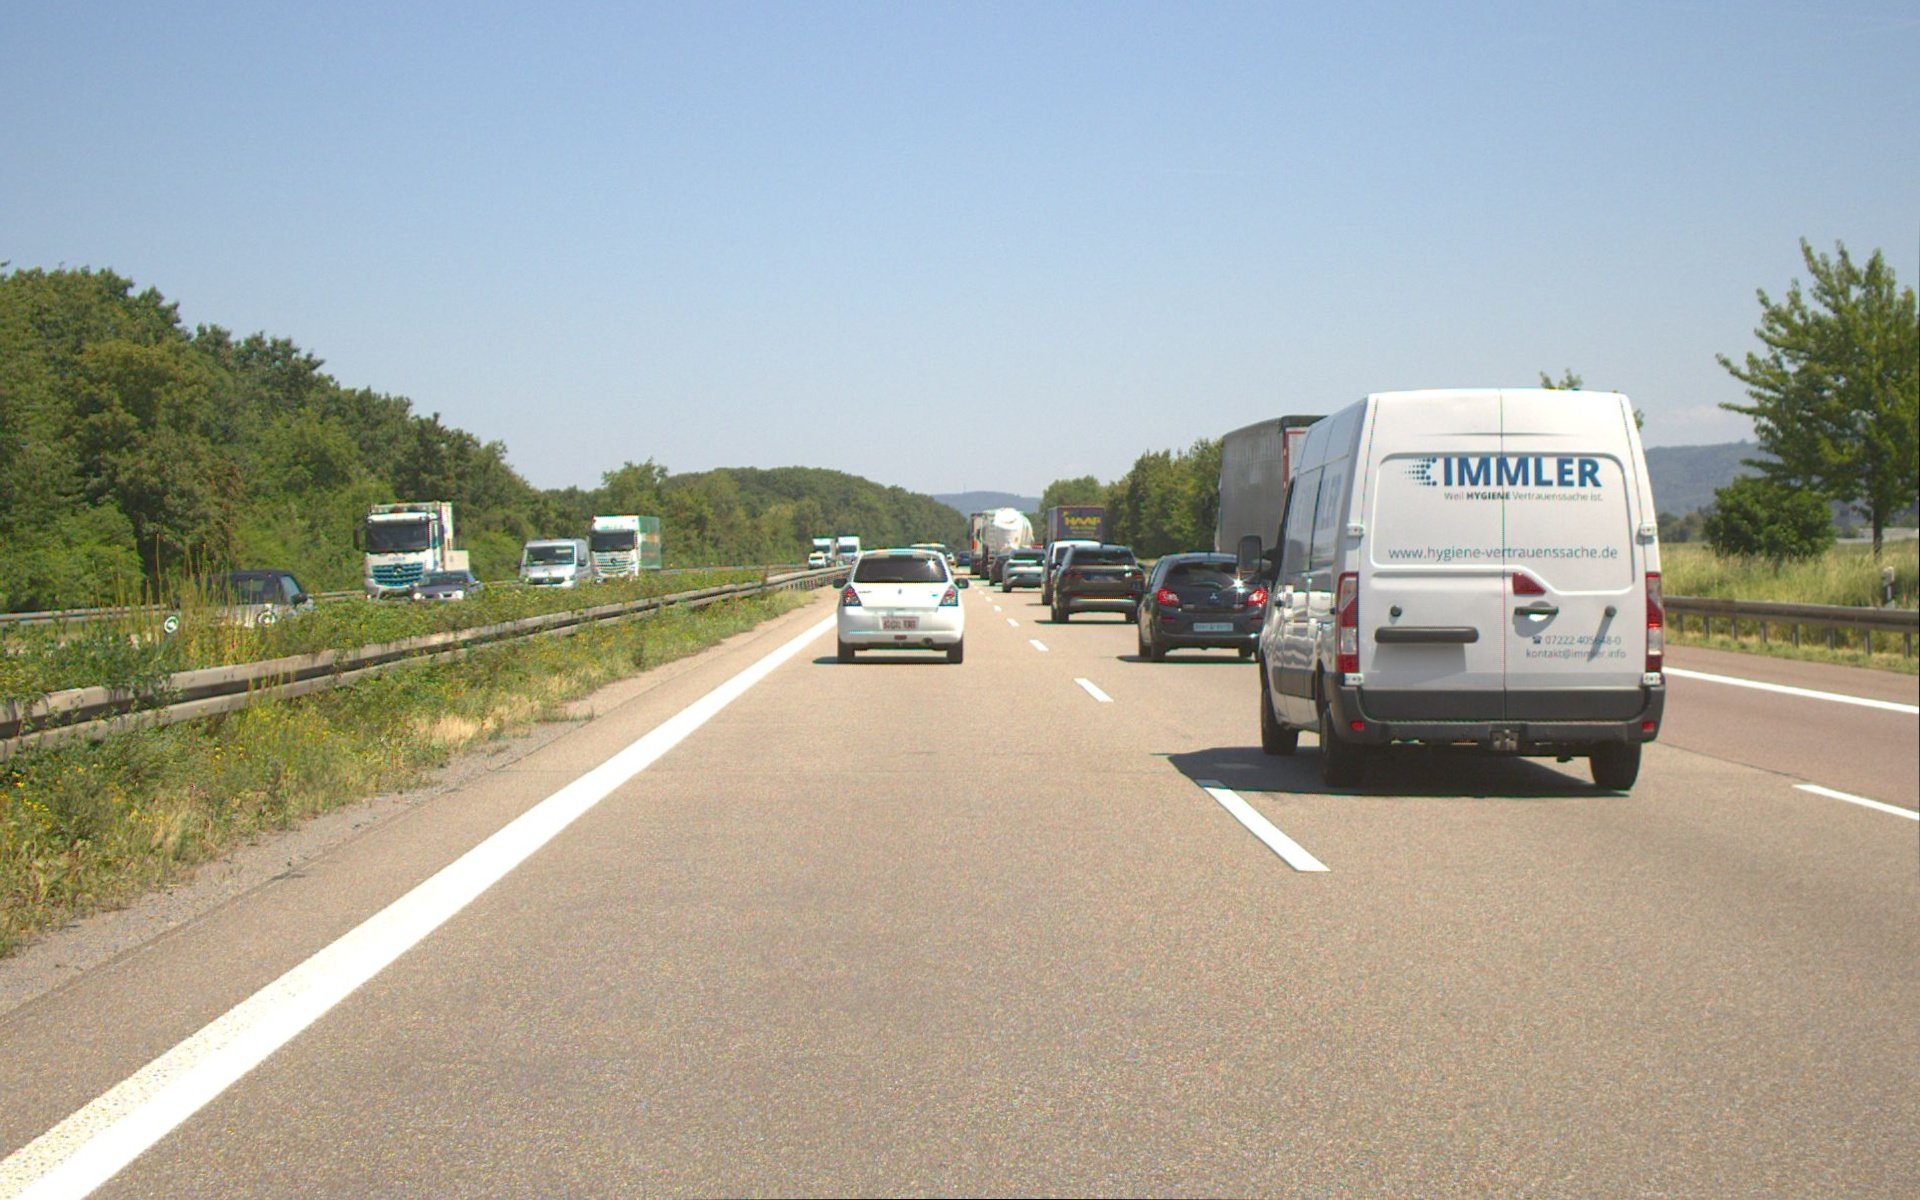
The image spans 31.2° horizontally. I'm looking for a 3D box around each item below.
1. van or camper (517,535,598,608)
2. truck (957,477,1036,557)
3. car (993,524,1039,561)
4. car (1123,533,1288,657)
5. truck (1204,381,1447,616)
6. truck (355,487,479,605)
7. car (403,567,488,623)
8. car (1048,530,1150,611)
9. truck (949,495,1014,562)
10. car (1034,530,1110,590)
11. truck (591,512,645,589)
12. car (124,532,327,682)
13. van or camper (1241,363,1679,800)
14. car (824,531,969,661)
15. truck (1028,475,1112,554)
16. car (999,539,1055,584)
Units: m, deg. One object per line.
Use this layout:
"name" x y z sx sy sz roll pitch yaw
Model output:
"van or camper" -13.842 -1.017 118.566 2.058 2.345 6.076 -2 1 -1
"truck" 1.937 -4.578 191.772 3.257 4.194 16.846 1 1 -3
"car" 2.482 -2.573 153.715 1.857 1.646 4.001 0 1 -2
"car" 3.371 -0.106 47.807 1.857 1.646 4.001 0 1 -2
"truck" 7.233 -1.992 70.787 3.079 4.194 16.844 1 1 0
"truck" -18.360 -1.845 116.818 2.605 3.748 9.866 -2 1 -1
"car" -14.681 -0.163 98.347 1.857 1.434 4.599 -2 1 -2
"car" 2.917 -0.645 72.923 1.857 1.646 4.001 0 1 -2
"truck" 1.363 -4.729 228.780 3.257 4.194 16.846 1 1 -3
"car" 3.137 -1.147 97.064 1.857 1.646 4.001 0 1 -2
"truck" -18.489 -2.708 186.131 2.417 4.079 5.881 0 1 -1
"car" -10.056 0.058 47.356 1.995 1.906 4.001 -2 1 -2
"van or camper" 3.237 -0.165 23.576 2.058 2.613 5.985 0 1 -1
"car" -0.900 -0.090 46.693 1.857 1.646 4.001 1 1 -2
"truck" 6.120 -4.807 194.813 3.257 4.194 16.846 1 1 -3
"car" 2.476 -1.447 127.697 1.857 1.646 4.001 0 1 -2
